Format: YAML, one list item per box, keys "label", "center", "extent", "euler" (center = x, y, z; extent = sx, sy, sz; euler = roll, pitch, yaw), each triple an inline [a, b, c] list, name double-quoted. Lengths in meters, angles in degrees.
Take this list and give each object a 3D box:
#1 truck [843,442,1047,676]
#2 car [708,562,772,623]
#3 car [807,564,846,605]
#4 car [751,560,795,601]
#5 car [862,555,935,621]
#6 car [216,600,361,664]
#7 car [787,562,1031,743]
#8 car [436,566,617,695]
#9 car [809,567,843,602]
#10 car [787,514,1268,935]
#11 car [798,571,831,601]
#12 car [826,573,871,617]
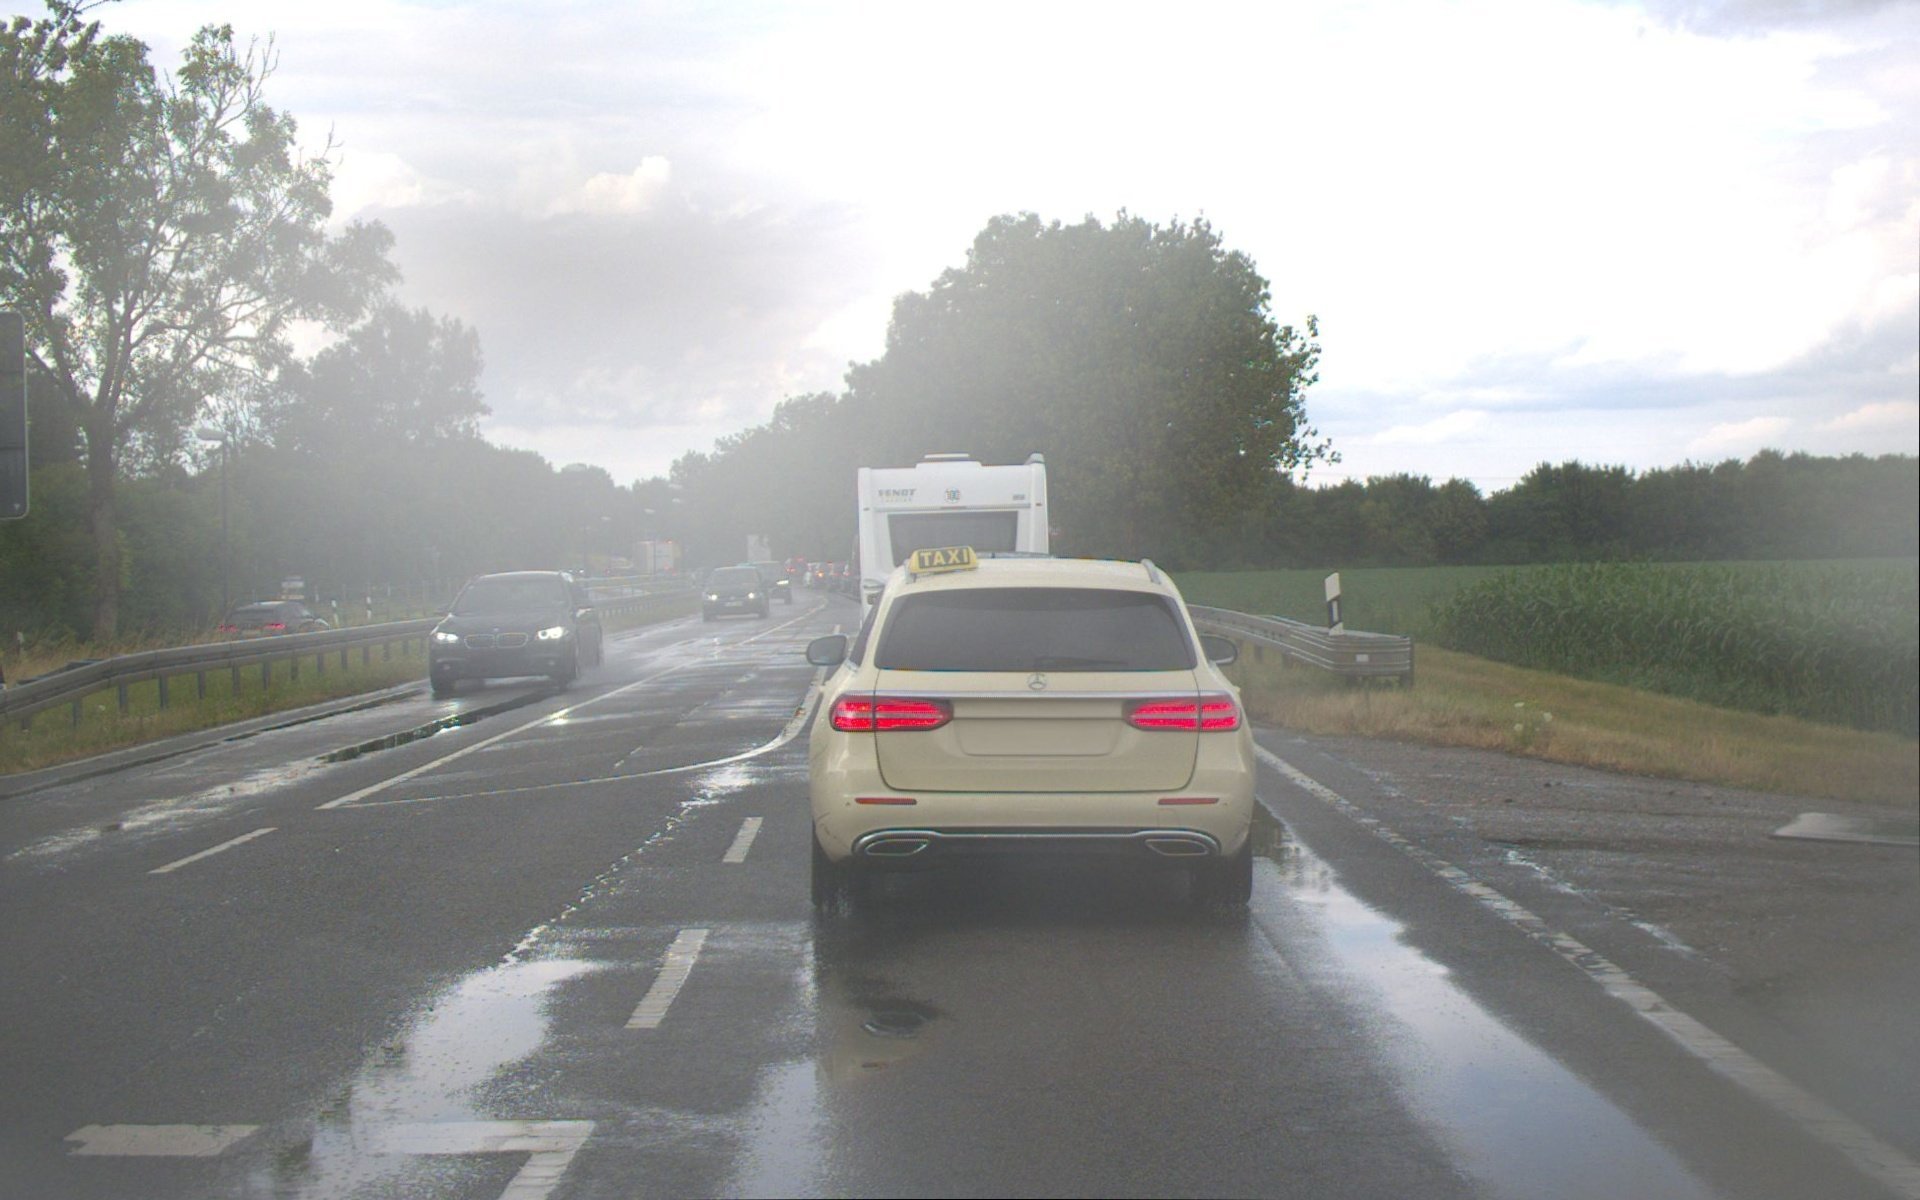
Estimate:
- label: "truck"
  center: [-0.210, -0.537, 44.325]
  extent: [2.363, 2.719, 7.314]
  euler: [-1, 1, -1]
- label: "car"
  center: [-6.047, -0.222, 94.648]
  extent: [1.580, 1.634, 3.442]
  euler: [-1, 1, -1]
- label: "car"
  center: [-6.675, -0.776, 172.123]
  extent: [1.852, 2.007, 3.811]
  euler: [-1, 1, -1]
- label: "car"
  center: [-7.056, -0.744, 129.892]
  extent: [1.607, 1.487, 3.786]
  euler: [-1, 1, -2]
- label: "car"
  center: [-1.757, -0.371, 99.474]
  extent: [1.915, 1.834, 3.795]
  euler: [-1, 1, 1]
- label: "car"
  center: [-17.325, 0.801, 88.866]
  extent: [2.302, 1.542, 4.631]
  euler: [1, 0, 8]
- label: "car"
  center: [-0.442, 0.415, 30.440]
  extent: [1.993, 1.457, 4.000]
  euler: [1, 0, -1]
- label: "car"
  center: [-5.570, 0.365, 44.634]
  extent: [1.828, 1.568, 4.000]
  euler: [1, 0, 0]
- label: "car"
  center: [-7.392, -0.856, 190.303]
  extent: [1.740, 1.853, 3.785]
  euler: [-1, 1, -1]
- label: "car"
  center: [0.238, 0.459, 15.240]
  extent: [1.842, 1.612, 4.000]
  euler: [0, 1, -1]
- label: "car"
  center: [-8.432, -0.802, 199.255]
  extent: [1.748, 1.656, 3.673]
  euler: [-2, 0, -4]
- label: "car"
  center: [-4.692, -0.224, 145.107]
  extent: [1.791, 1.771, 3.721]
  euler: [-1, 1, -1]
